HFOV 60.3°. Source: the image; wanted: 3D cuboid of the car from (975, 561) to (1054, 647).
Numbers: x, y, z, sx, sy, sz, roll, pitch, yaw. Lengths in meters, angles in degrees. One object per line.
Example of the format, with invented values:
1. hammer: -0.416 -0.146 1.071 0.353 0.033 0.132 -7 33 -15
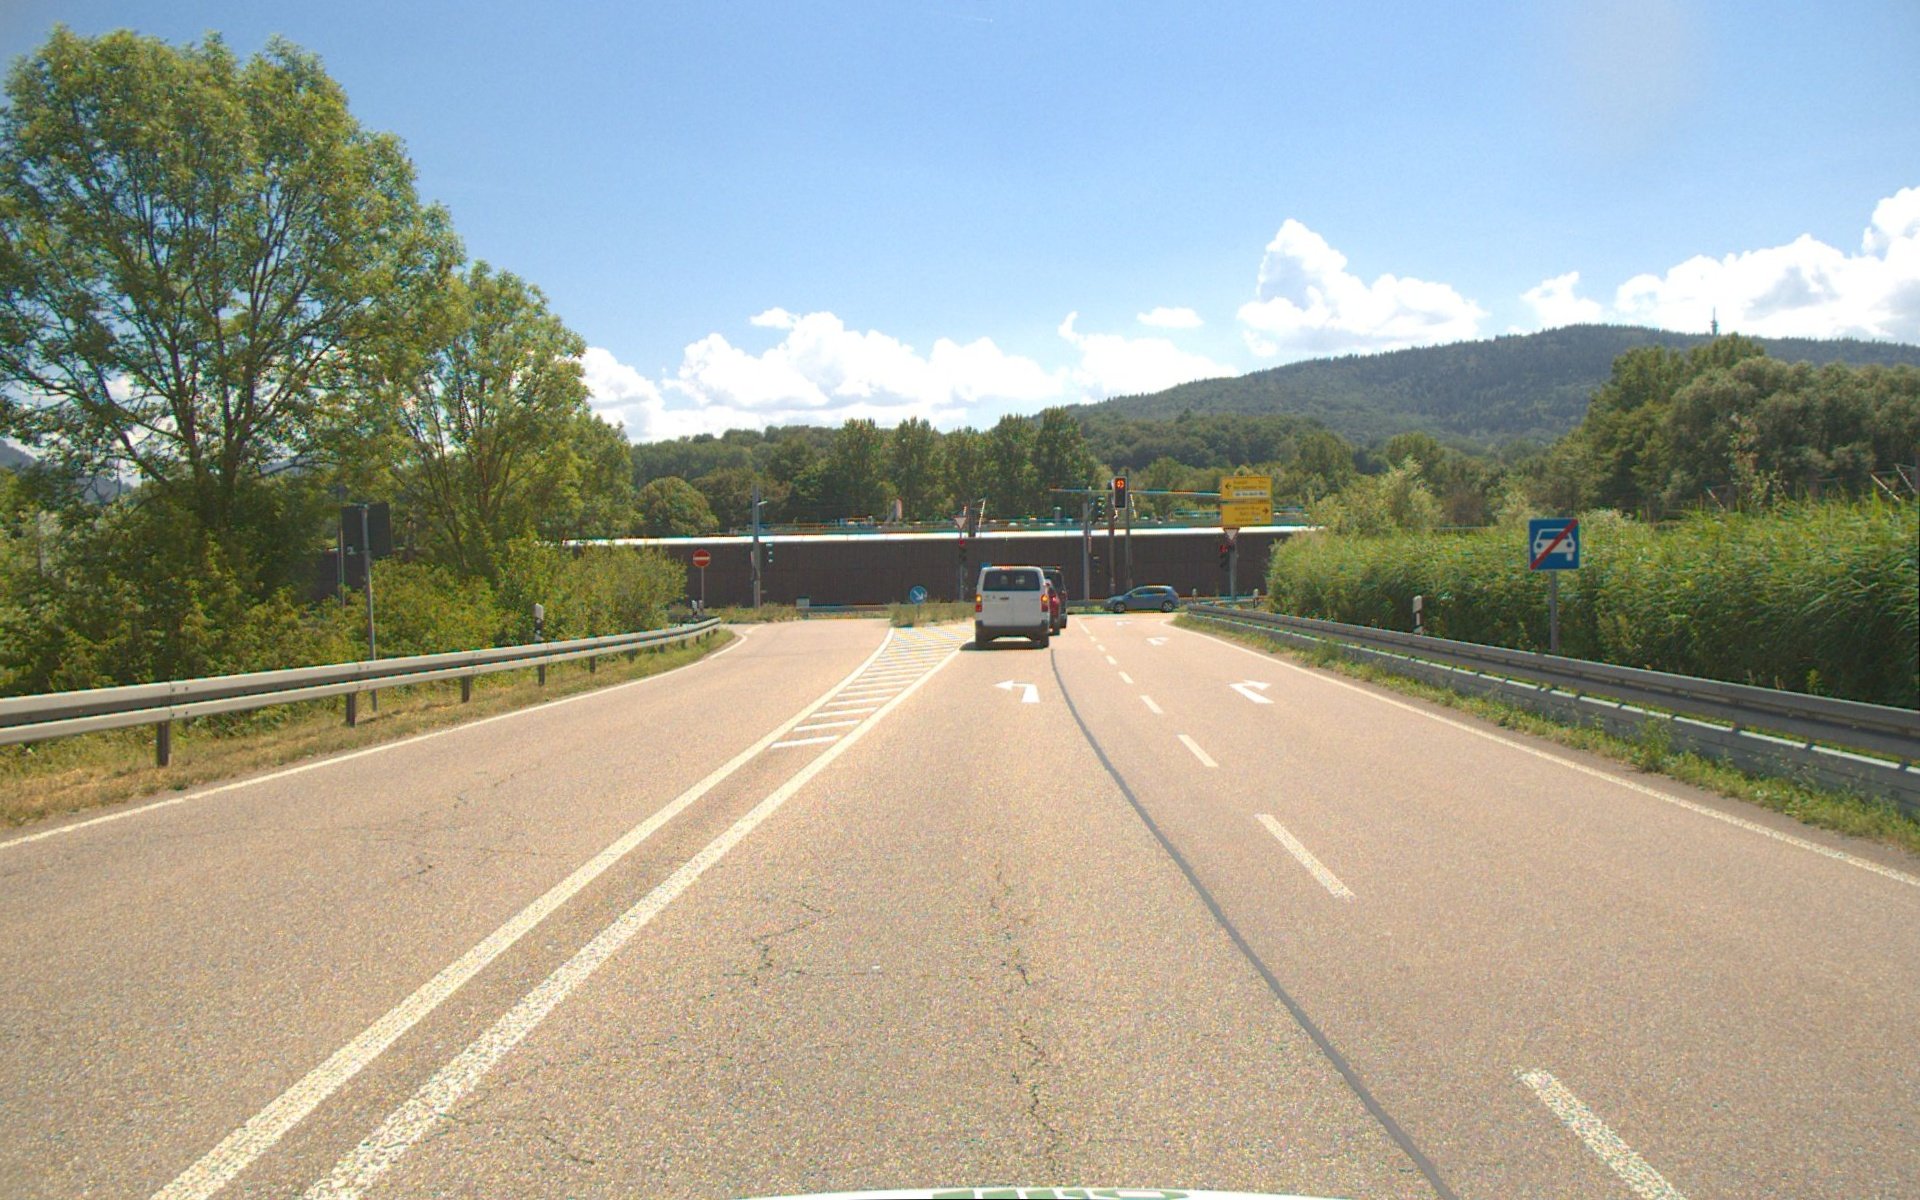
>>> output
1. car: 1.369 0.083 40.945 1.831 1.999 4.001 0 0 3

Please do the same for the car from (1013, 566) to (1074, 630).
1. car: 2.880 -0.080 57.258 1.952 2.048 4.002 -3 0 3

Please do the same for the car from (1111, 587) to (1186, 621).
1. car: 10.229 0.194 89.862 3.904 1.800 2.001 -1 0 2

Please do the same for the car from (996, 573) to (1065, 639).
1. car: 2.165 0.164 50.312 1.952 1.843 4.002 -3 0 3
